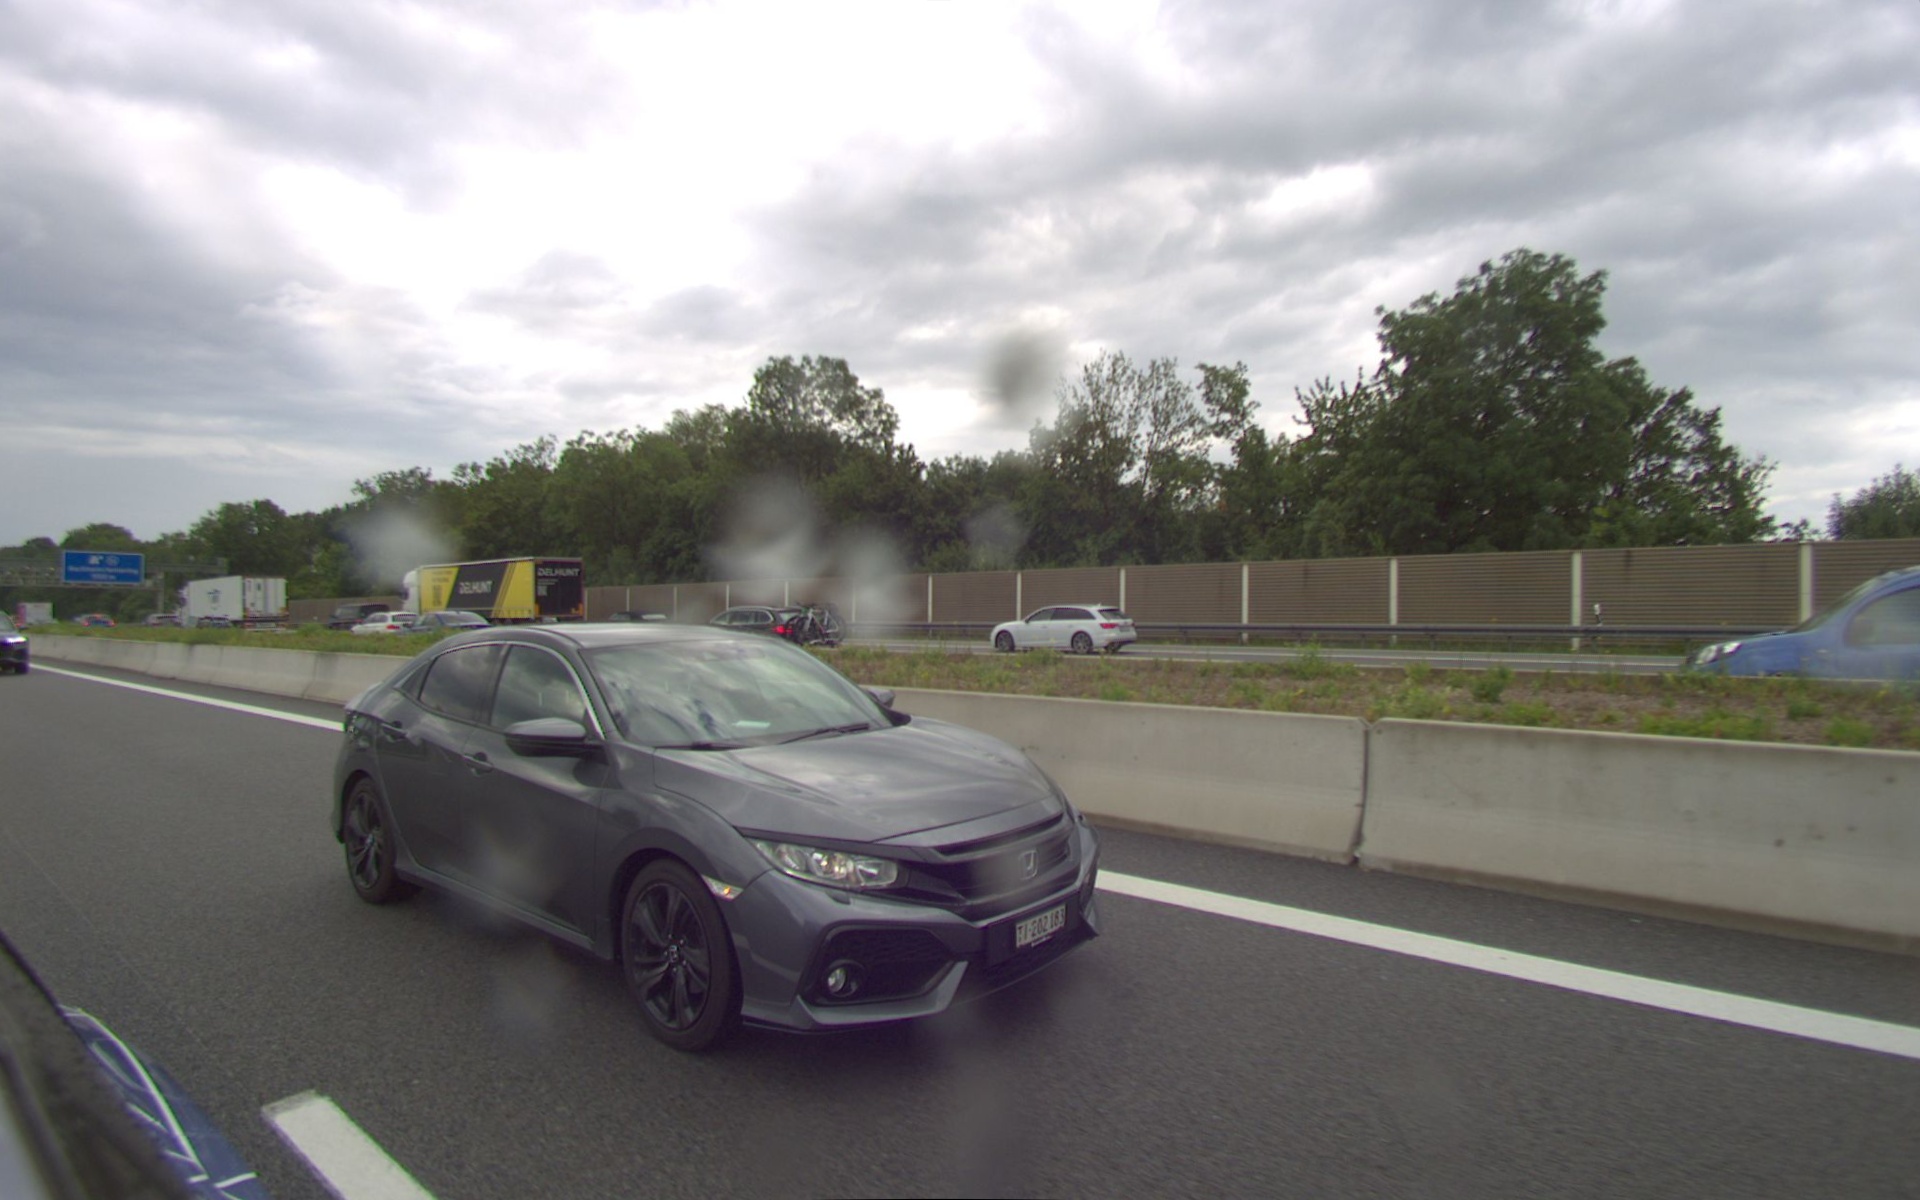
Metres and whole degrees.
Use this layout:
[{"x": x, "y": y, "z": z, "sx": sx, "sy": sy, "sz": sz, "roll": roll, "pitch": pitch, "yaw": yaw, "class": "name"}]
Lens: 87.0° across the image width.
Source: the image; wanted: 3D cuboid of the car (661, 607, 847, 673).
[{"x": -5.650, "y": 1.015, "z": 27.226, "sx": 5.710, "sy": 1.560, "sz": 1.747, "roll": -1, "pitch": 0, "yaw": 41, "class": "car"}]

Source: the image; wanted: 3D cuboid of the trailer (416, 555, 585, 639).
[{"x": -24.724, "y": -0.064, "z": 53.792, "sx": 14.046, "sy": 3.993, "sz": 2.650, "roll": -1, "pitch": 0, "yaw": 41, "class": "trailer"}]

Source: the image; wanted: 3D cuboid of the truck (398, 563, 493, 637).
[{"x": -29.554, "y": 0.006, "z": 58.033, "sx": 6.440, "sy": 3.993, "sz": 2.650, "roll": -1, "pitch": 0, "yaw": 41, "class": "truck"}]

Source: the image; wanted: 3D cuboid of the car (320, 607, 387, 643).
[{"x": -34.215, "y": 1.375, "z": 57.019, "sx": 5.036, "sy": 1.909, "sz": 1.747, "roll": -1, "pitch": 0, "yaw": 41, "class": "car"}]

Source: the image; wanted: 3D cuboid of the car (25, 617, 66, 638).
[{"x": -73.782, "y": 2.209, "z": 81.614, "sx": 3.997, "sy": 1.548, "sz": 1.973, "roll": -1, "pitch": 0, "yaw": 41, "class": "car"}]

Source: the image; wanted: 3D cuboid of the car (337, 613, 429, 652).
[{"x": -24.797, "y": 1.347, "z": 43.418, "sx": 5.237, "sy": 1.548, "sz": 1.747, "roll": -1, "pitch": 0, "yaw": 41, "class": "car"}]

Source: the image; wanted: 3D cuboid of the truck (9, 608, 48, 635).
[{"x": -99.446, "y": 2.275, "z": 108.031, "sx": 6.245, "sy": 2.849, "sz": 2.306, "roll": -1, "pitch": 0, "yaw": 41, "class": "truck"}]

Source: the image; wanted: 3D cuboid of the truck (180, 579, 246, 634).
[{"x": -55.353, "y": 0.469, "z": 74.944, "sx": 6.000, "sy": 3.915, "sz": 2.697, "roll": -1, "pitch": 0, "yaw": 41, "class": "truck"}]

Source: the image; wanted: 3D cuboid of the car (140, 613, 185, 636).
[{"x": -55.354, "y": 1.682, "z": 70.233, "sx": 3.997, "sy": 1.548, "sz": 1.740, "roll": -1, "pitch": 0, "yaw": 41, "class": "car"}]

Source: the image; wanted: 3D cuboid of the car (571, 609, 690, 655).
[{"x": -12.206, "y": 1.126, "z": 37.317, "sx": 5.157, "sy": 1.548, "sz": 1.747, "roll": -1, "pitch": 0, "yaw": 41, "class": "car"}]

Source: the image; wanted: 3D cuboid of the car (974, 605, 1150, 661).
[{"x": 2.944, "y": 0.942, "z": 30.162, "sx": 5.157, "sy": 1.507, "sz": 1.747, "roll": -1, "pitch": 0, "yaw": 41, "class": "car"}]

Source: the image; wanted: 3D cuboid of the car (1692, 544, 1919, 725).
[{"x": 9.243, "y": 0.275, "z": 8.855, "sx": 4.480, "sy": 1.548, "sz": 1.747, "roll": -1, "pitch": 0, "yaw": 41, "class": "car"}]

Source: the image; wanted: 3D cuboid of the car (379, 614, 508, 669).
[{"x": -16.187, "y": 1.237, "z": 31.588, "sx": 5.157, "sy": 1.548, "sz": 1.747, "roll": -1, "pitch": 0, "yaw": 41, "class": "car"}]

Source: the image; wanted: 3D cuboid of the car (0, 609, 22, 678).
[{"x": -26.019, "y": 1.114, "z": 26.438, "sx": 5.169, "sy": 1.704, "sz": 1.887, "roll": -1, "pitch": 0, "yaw": 43, "class": "car"}]

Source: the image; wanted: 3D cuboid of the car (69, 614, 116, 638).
[{"x": -59.286, "y": 1.754, "z": 69.170, "sx": 4.580, "sy": 1.548, "sz": 1.747, "roll": -1, "pitch": 0, "yaw": 41, "class": "car"}]

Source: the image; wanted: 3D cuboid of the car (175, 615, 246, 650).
[{"x": -35.783, "y": 1.497, "z": 48.300, "sx": 4.580, "sy": 1.548, "sz": 1.747, "roll": -1, "pitch": 0, "yaw": 41, "class": "car"}]

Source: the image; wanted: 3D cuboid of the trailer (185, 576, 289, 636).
[{"x": -51.321, "y": 0.435, "z": 71.600, "sx": 14.043, "sy": 3.915, "sz": 2.697, "roll": -1, "pitch": 0, "yaw": 41, "class": "trailer"}]

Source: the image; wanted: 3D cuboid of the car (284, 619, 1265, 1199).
[{"x": -1.350, "y": 0.802, "z": 4.742, "sx": 5.057, "sy": 1.379, "sz": 1.742, "roll": -1, "pitch": -1, "yaw": 41, "class": "car"}]
